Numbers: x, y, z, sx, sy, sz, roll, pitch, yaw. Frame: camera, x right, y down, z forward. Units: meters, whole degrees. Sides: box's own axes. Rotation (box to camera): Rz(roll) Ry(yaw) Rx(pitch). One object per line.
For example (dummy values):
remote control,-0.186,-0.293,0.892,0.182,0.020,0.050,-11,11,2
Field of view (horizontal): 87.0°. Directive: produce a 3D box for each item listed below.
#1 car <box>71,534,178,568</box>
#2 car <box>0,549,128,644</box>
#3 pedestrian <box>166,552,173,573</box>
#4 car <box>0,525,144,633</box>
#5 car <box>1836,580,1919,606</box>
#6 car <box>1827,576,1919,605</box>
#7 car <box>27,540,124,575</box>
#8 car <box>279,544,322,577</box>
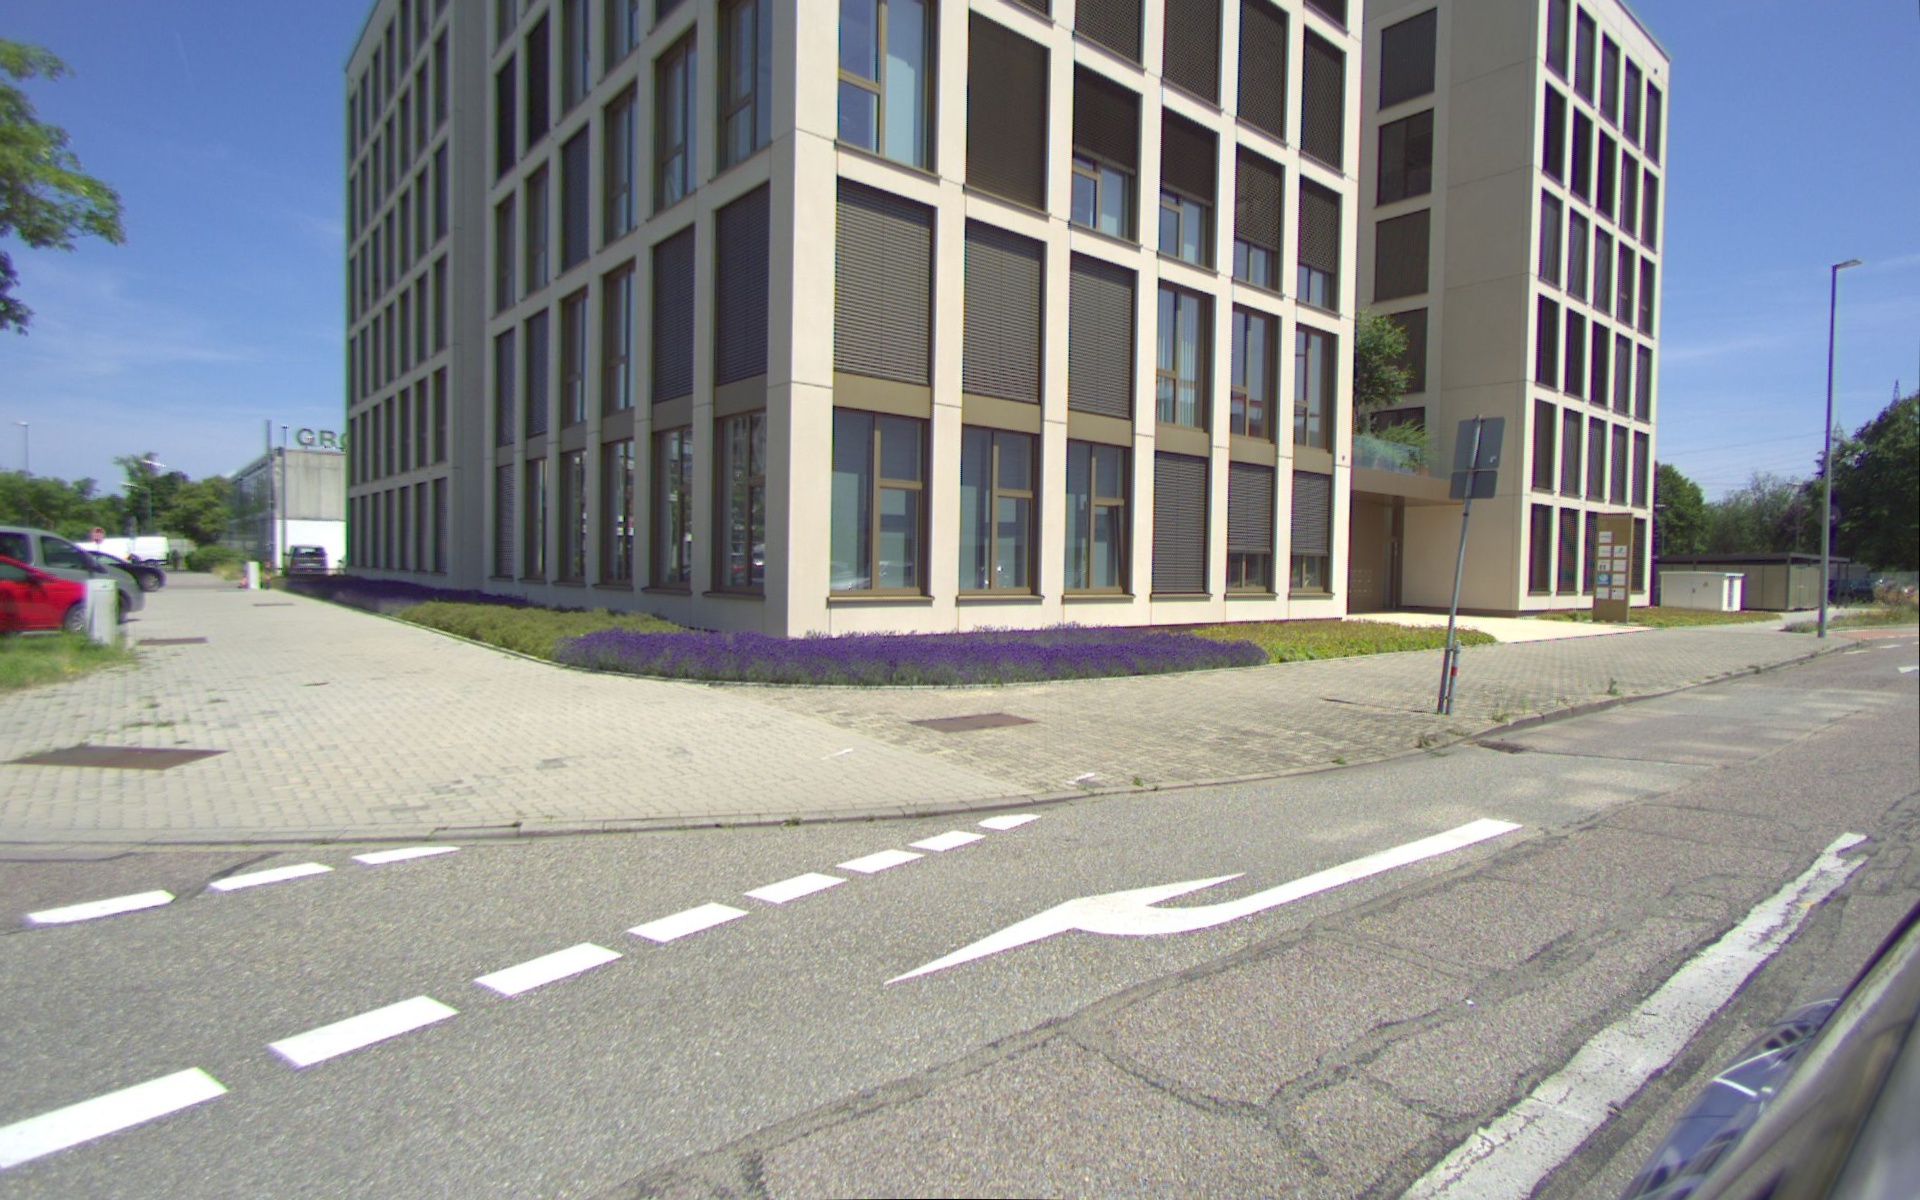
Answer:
car,-67.391,-3.881,81.839,6.573,2.552,2.217,-1,0,-38
car,-15.462,-0.062,15.577,1.672,1.449,3.990,1,3,10
pedestrian,-58.384,-2.754,74.757,0.397,1.579,0.549,0,2,-39
car,-17.918,-0.402,18.426,1.886,1.910,4.927,1,1,5
car,55.262,-0.448,60.770,3.810,1.411,1.716,2,2,36
car,53.663,-0.571,59.552,3.810,1.571,1.716,2,2,36
car,-55.164,-2.601,63.227,4.495,2.039,1.997,-1,0,-40
car,-38.125,-2.235,58.463,1.763,1.749,3.997,0,0,-38
